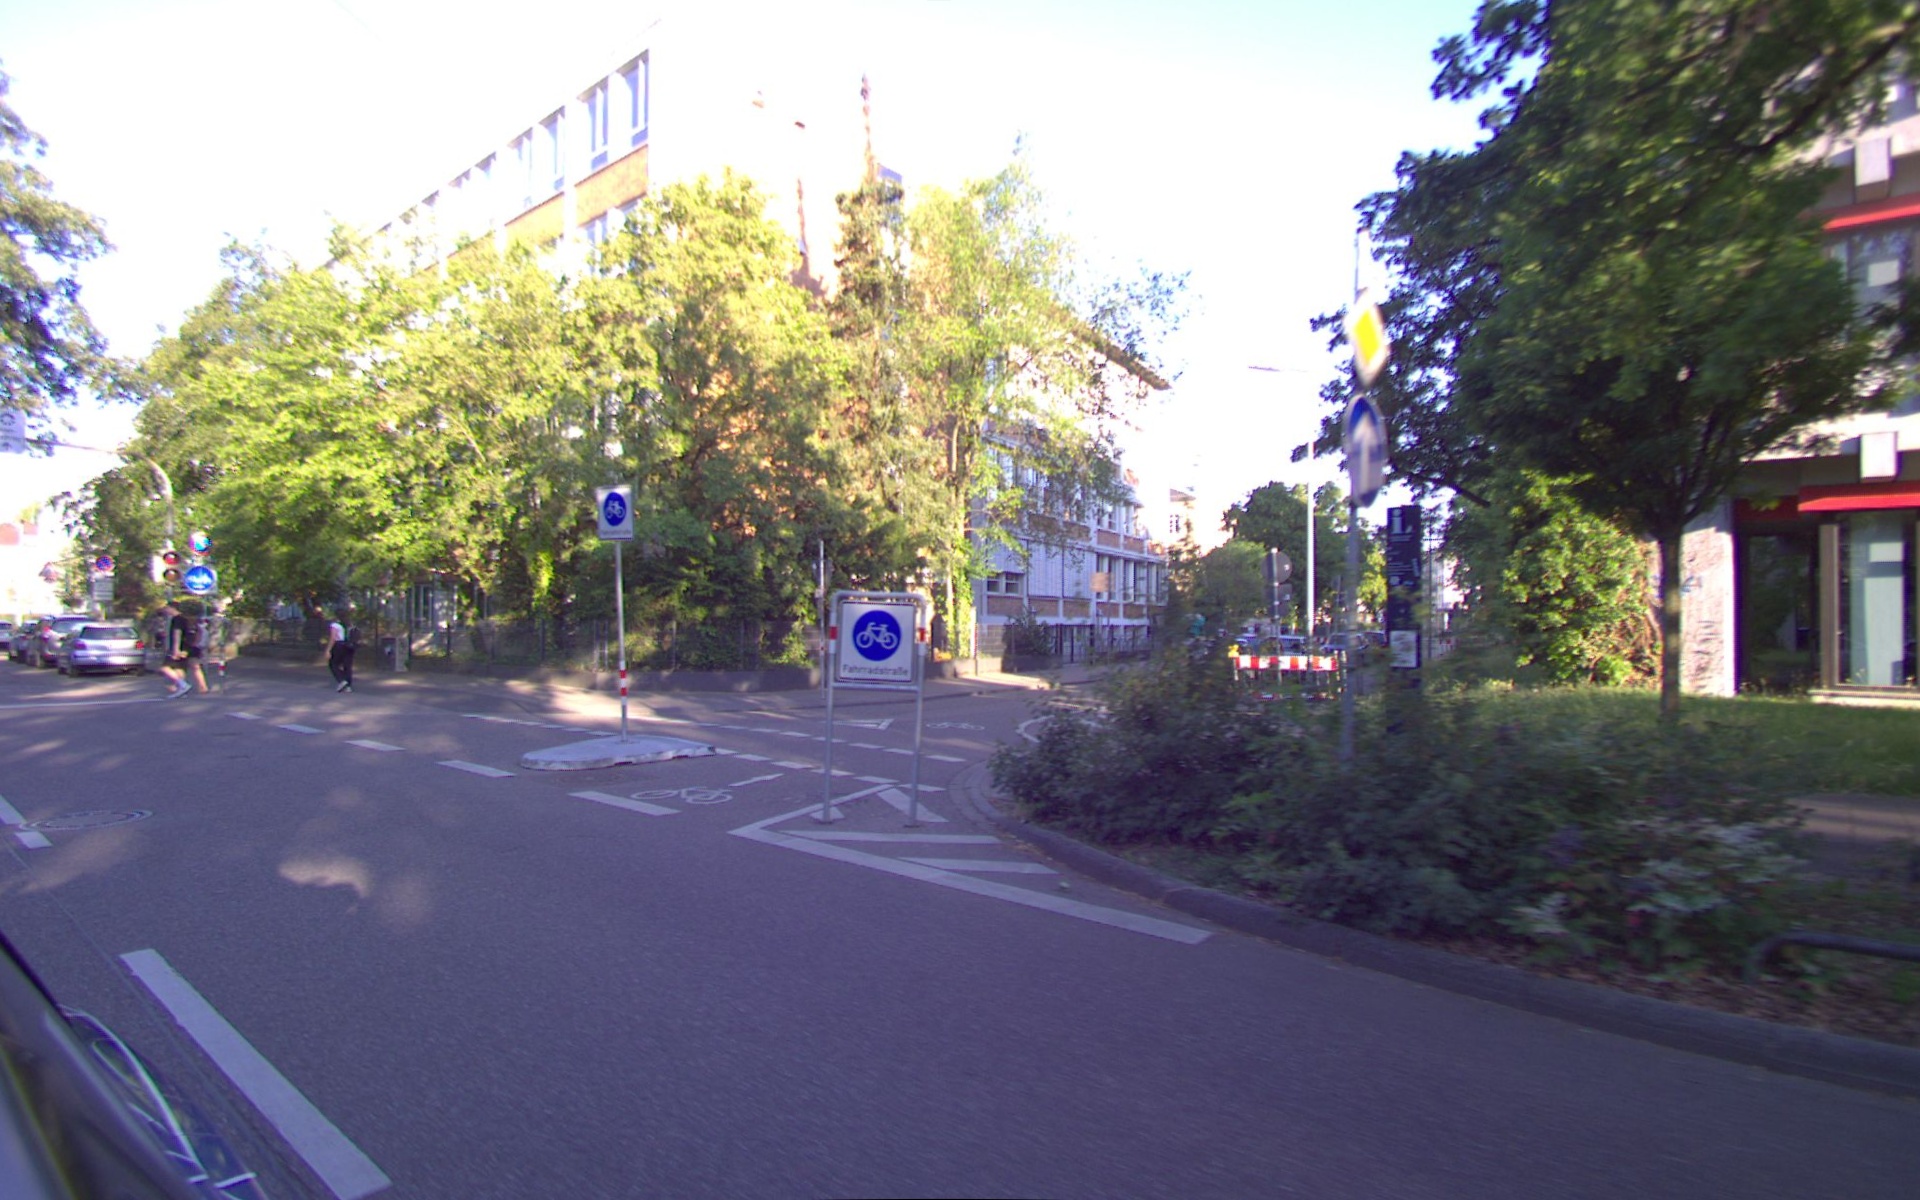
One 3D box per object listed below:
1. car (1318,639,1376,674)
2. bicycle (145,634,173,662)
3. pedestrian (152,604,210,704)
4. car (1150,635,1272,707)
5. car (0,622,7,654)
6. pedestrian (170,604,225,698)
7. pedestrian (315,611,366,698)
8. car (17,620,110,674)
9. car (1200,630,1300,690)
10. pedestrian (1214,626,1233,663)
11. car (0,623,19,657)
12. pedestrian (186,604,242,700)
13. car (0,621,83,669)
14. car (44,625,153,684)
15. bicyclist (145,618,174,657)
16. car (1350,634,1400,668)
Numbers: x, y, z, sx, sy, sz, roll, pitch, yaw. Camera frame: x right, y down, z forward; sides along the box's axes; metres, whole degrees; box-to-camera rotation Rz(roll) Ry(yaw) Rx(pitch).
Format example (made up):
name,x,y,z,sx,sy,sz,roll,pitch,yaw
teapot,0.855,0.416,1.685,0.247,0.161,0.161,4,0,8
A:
name,x,y,z,sx,sy,sz,roll,pitch,yaw
car,15.624,2.238,40.758,1.623,1.302,3.762,-1,-2,30
bicycle,-30.040,1.777,37.951,0.616,1.021,2.149,2,-3,-44
pedestrian,-14.835,1.011,19.268,0.673,1.850,0.773,-2,0,44
car,5.988,1.598,23.804,1.770,1.460,3.922,2,-1,30
car,-49.908,1.947,51.470,4.107,1.580,1.753,-1,-1,41
pedestrian,-15.504,1.023,20.576,0.673,1.850,0.773,-2,0,44
pedestrian,-12.436,1.085,20.318,0.785,1.688,0.663,-2,0,44
car,-28.747,1.467,32.413,4.107,1.580,1.753,-1,-1,41
car,7.854,1.562,27.237,1.770,1.417,3.608,2,-1,30
pedestrian,12.595,2.101,48.366,0.742,1.753,0.651,-1,-2,29
car,-46.316,1.888,48.245,4.107,1.580,1.753,-1,-1,41
pedestrian,-14.847,1.013,20.149,0.673,1.850,0.773,-2,0,44
car,-32.808,1.557,36.105,4.107,1.580,1.753,-1,-1,41
car,-24.165,1.478,28.340,4.107,1.494,1.753,-1,-1,41
bicyclist,-29.990,1.399,37.915,0.741,1.465,1.060,2,-3,-44
car,20.101,2.435,48.958,1.733,1.564,3.959,-1,-2,30
